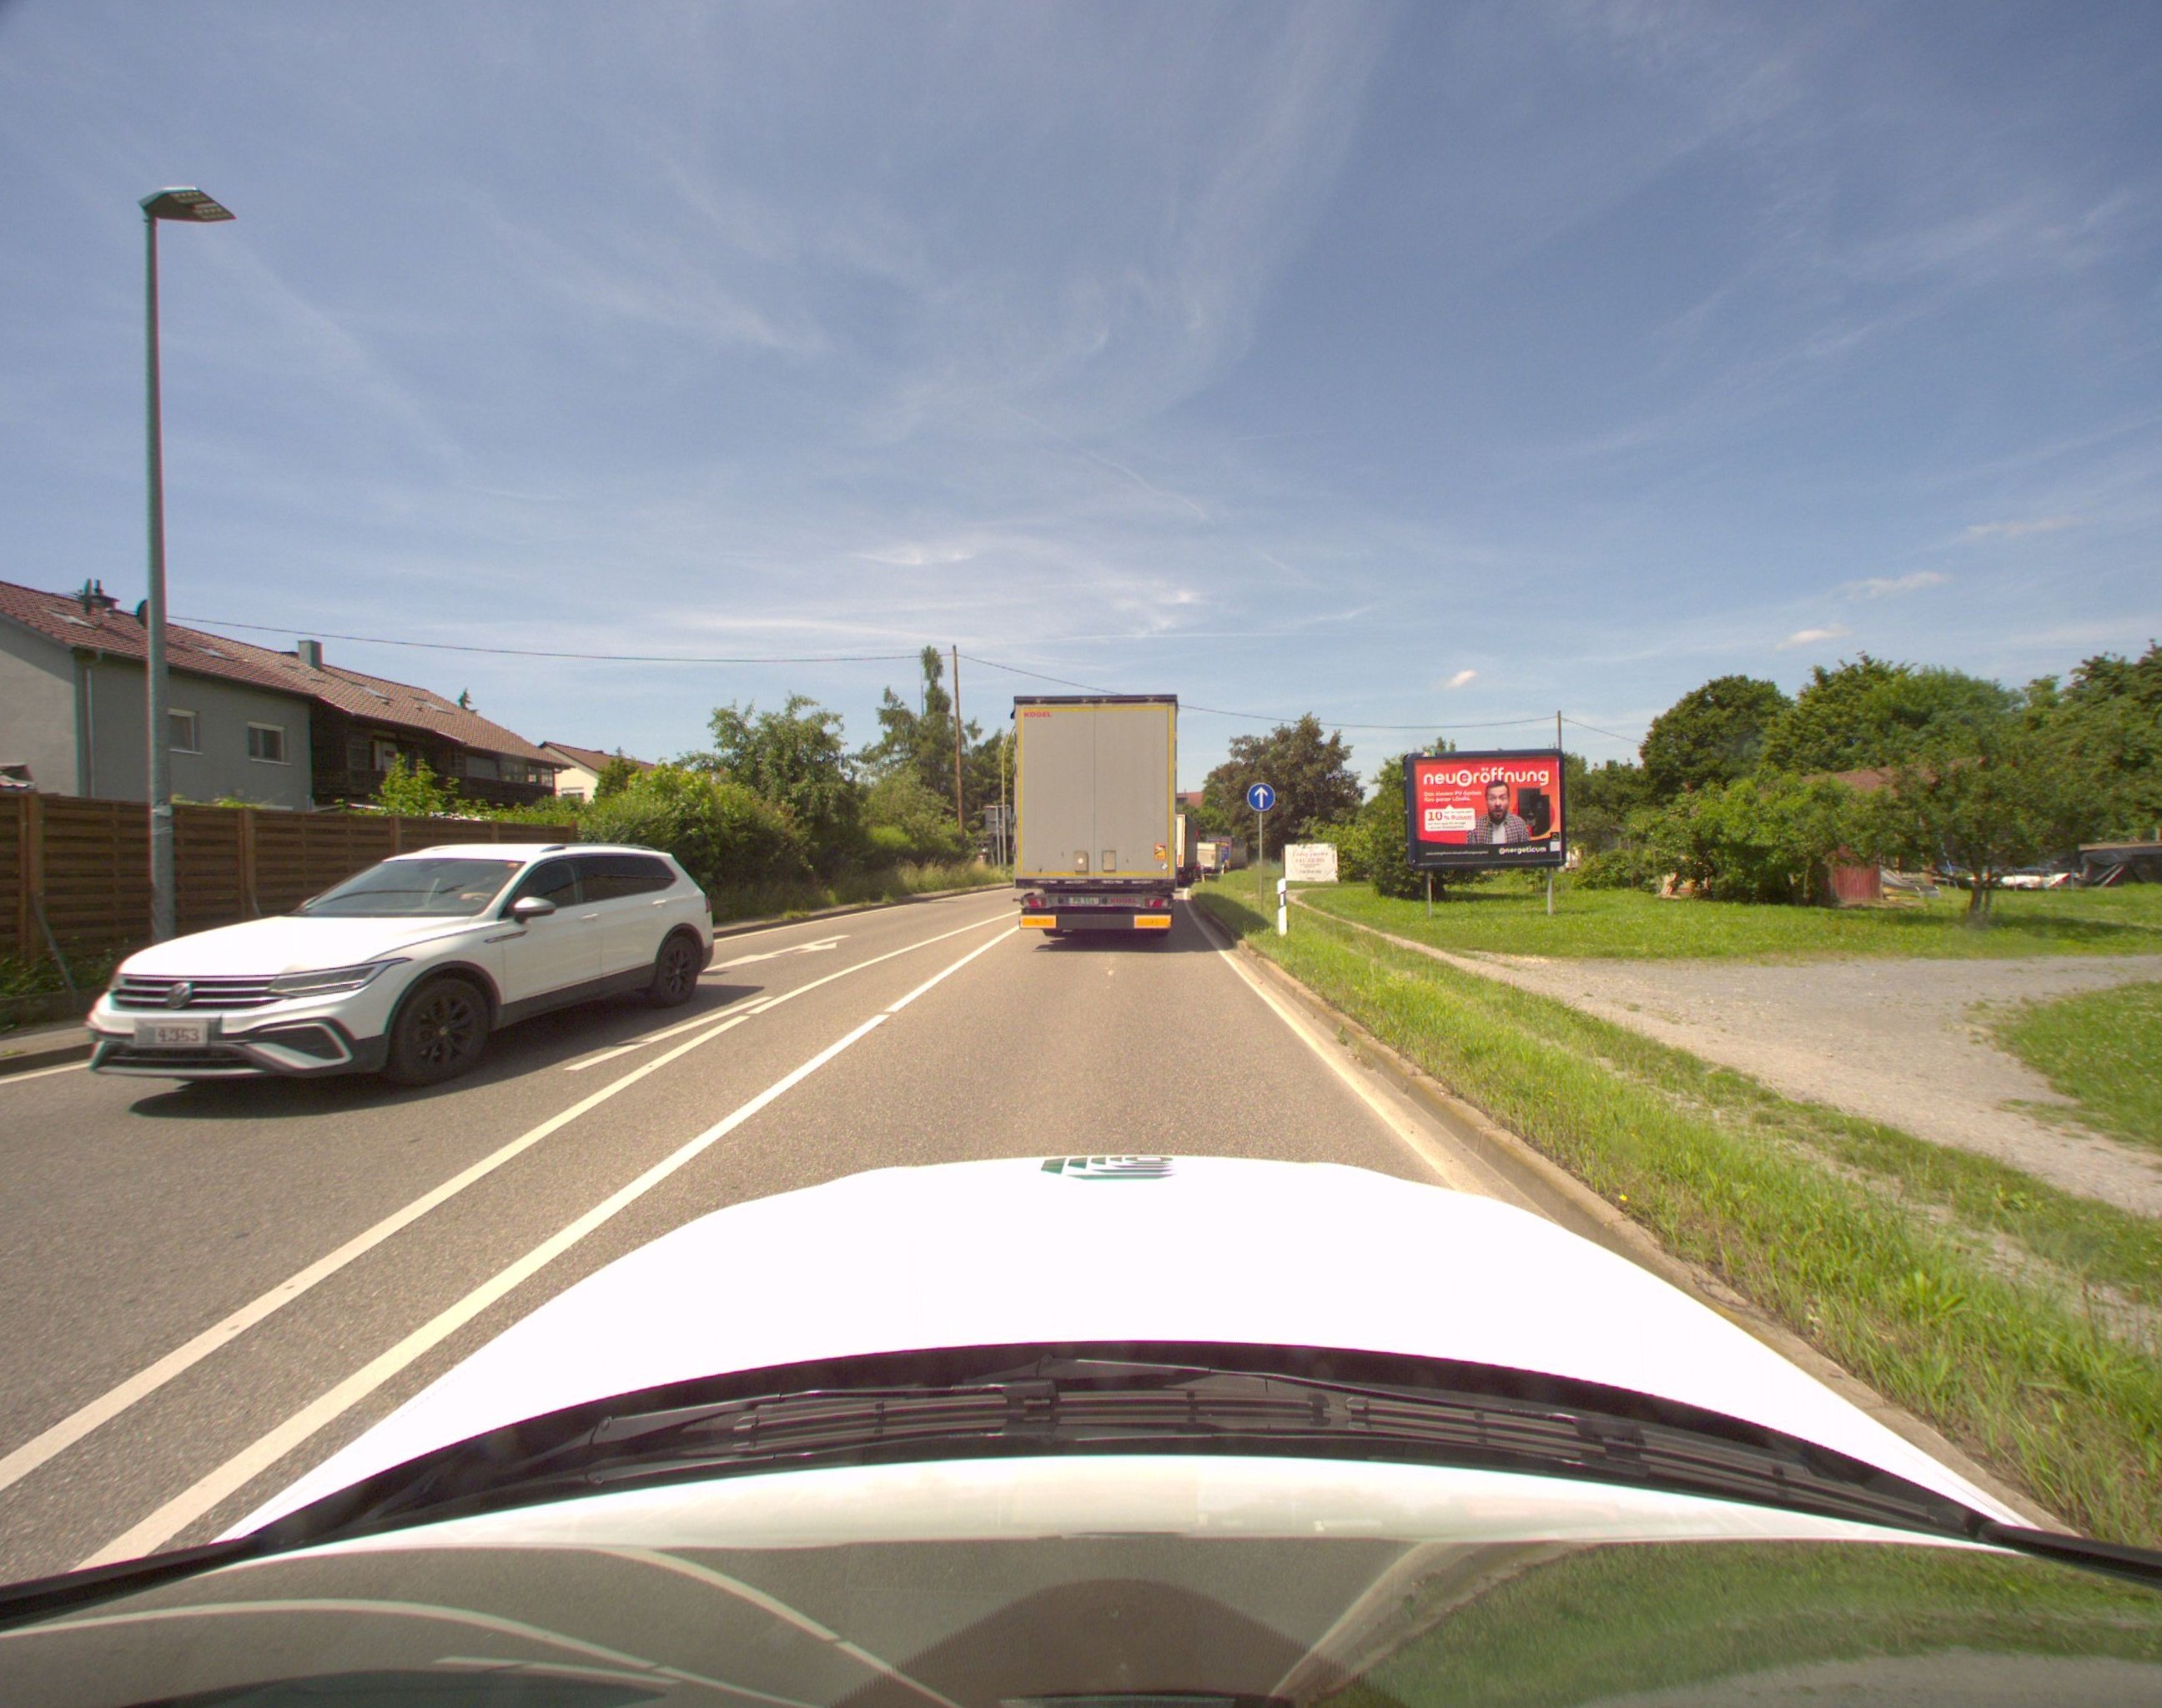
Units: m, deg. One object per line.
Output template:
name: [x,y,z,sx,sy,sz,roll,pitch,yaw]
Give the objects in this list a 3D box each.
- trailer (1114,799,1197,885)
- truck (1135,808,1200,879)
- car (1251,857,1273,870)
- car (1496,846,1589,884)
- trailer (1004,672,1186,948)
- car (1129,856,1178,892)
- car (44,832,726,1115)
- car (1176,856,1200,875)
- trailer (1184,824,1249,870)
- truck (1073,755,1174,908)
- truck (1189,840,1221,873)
trailer: [4.834,-0.610,49.261,3.867,4.521,12.748,-1,0,10]
truck: [6.118,-0.640,56.323,3.912,4.575,7.172,-1,0,10]
car: [24.583,1.298,110.605,1.975,1.684,4.024,0,0,26]
car: [25.195,0.580,44.583,3.963,2.013,2.005,0,0,9]
trailer: [0.784,-0.705,18.545,2.773,4.205,12.130,0,0,5]
car: [3.396,0.895,37.624,1.982,1.530,4.010,0,0,8]
car: [-5.123,0.692,7.035,1.837,1.655,4.410,0,0,5]
car: [8.838,0.898,66.959,1.830,1.486,4.011,0,0,9]
trailer: [15.252,-0.792,90.088,5.140,4.628,15.963,0,0,16]
truck: [1.485,-0.619,25.314,2.732,4.165,6.153,0,0,6]
truck: [11.466,0.205,74.913,2.403,2.838,5.433,0,0,14]
